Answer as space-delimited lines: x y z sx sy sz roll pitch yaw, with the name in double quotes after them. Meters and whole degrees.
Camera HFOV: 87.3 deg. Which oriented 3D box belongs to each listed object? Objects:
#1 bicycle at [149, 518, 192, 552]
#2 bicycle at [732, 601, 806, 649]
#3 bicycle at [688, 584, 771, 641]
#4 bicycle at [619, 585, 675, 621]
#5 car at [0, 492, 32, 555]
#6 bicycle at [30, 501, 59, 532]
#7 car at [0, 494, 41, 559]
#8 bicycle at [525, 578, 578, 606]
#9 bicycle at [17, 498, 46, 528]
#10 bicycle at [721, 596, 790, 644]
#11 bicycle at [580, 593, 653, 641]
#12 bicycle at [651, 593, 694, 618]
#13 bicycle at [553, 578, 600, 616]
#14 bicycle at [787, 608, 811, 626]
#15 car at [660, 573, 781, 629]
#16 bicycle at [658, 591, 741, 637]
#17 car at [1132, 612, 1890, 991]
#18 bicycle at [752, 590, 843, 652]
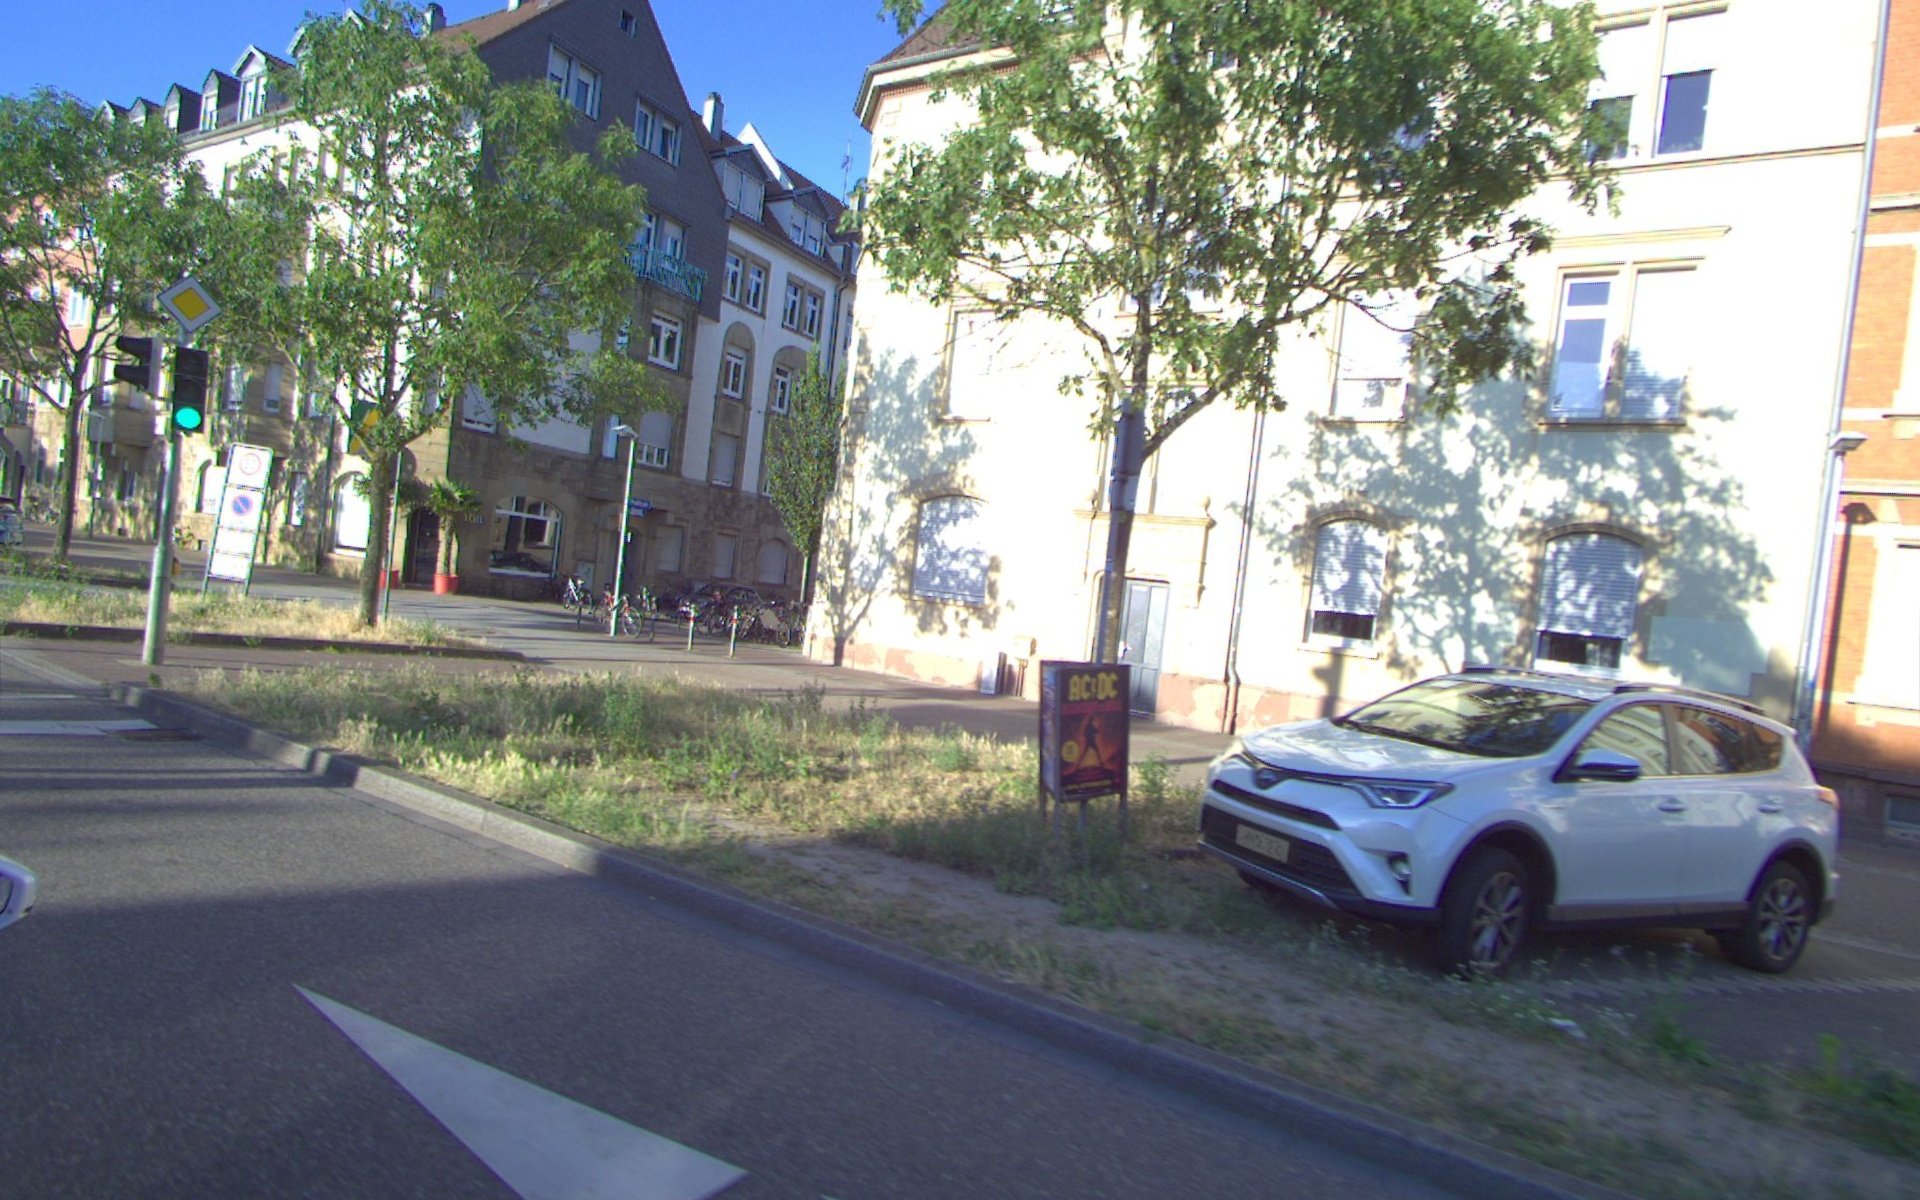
-28.981 -2.390 36.912 1.865 1.087 0.572 7 1 32 "bicycle"
-4.955 0.674 26.291 0.529 1.119 2.209 7 0 28 "bicycle"
-6.207 0.372 27.230 0.718 1.336 2.354 7 0 28 "bicycle"
-10.449 0.096 33.564 1.853 0.959 0.629 8 0 32 "bicycle"
-27.176 -2.327 25.913 4.296 1.589 1.987 9 -1 -29 "car"
-39.267 -3.583 43.150 1.717 1.182 0.482 7 6 32 "bicycle"
-25.324 -2.068 24.215 4.236 1.540 1.835 8 -1 -26 "car"
-13.528 -0.249 33.345 0.522 0.744 1.544 8 0 31 "bicycle"
-40.803 -3.820 44.197 1.717 1.182 0.482 7 6 32 "bicycle"
-5.420 0.551 26.735 0.565 1.138 1.976 7 0 28 "bicycle"
-7.671 0.370 22.437 1.853 0.885 0.459 6 5 32 "bicycle"
-10.844 0.217 37.989 0.522 0.744 1.544 8 0 31 "bicycle"
-11.978 -0.115 31.365 0.626 0.959 1.861 7 0 -43 "bicycle"
-7.046 0.763 44.028 0.322 0.689 1.147 8 0 31 "bicycle"
-8.673 0.073 36.739 1.966 1.484 3.993 10 1 31 "car"
-7.069 0.405 27.419 0.718 1.062 2.333 7 0 28 "bicycle"
3.571 1.240 6.517 4.376 1.712 1.905 8 0 -24 "car"
-4.144 0.574 25.937 0.718 1.401 2.670 7 0 28 "bicycle"
